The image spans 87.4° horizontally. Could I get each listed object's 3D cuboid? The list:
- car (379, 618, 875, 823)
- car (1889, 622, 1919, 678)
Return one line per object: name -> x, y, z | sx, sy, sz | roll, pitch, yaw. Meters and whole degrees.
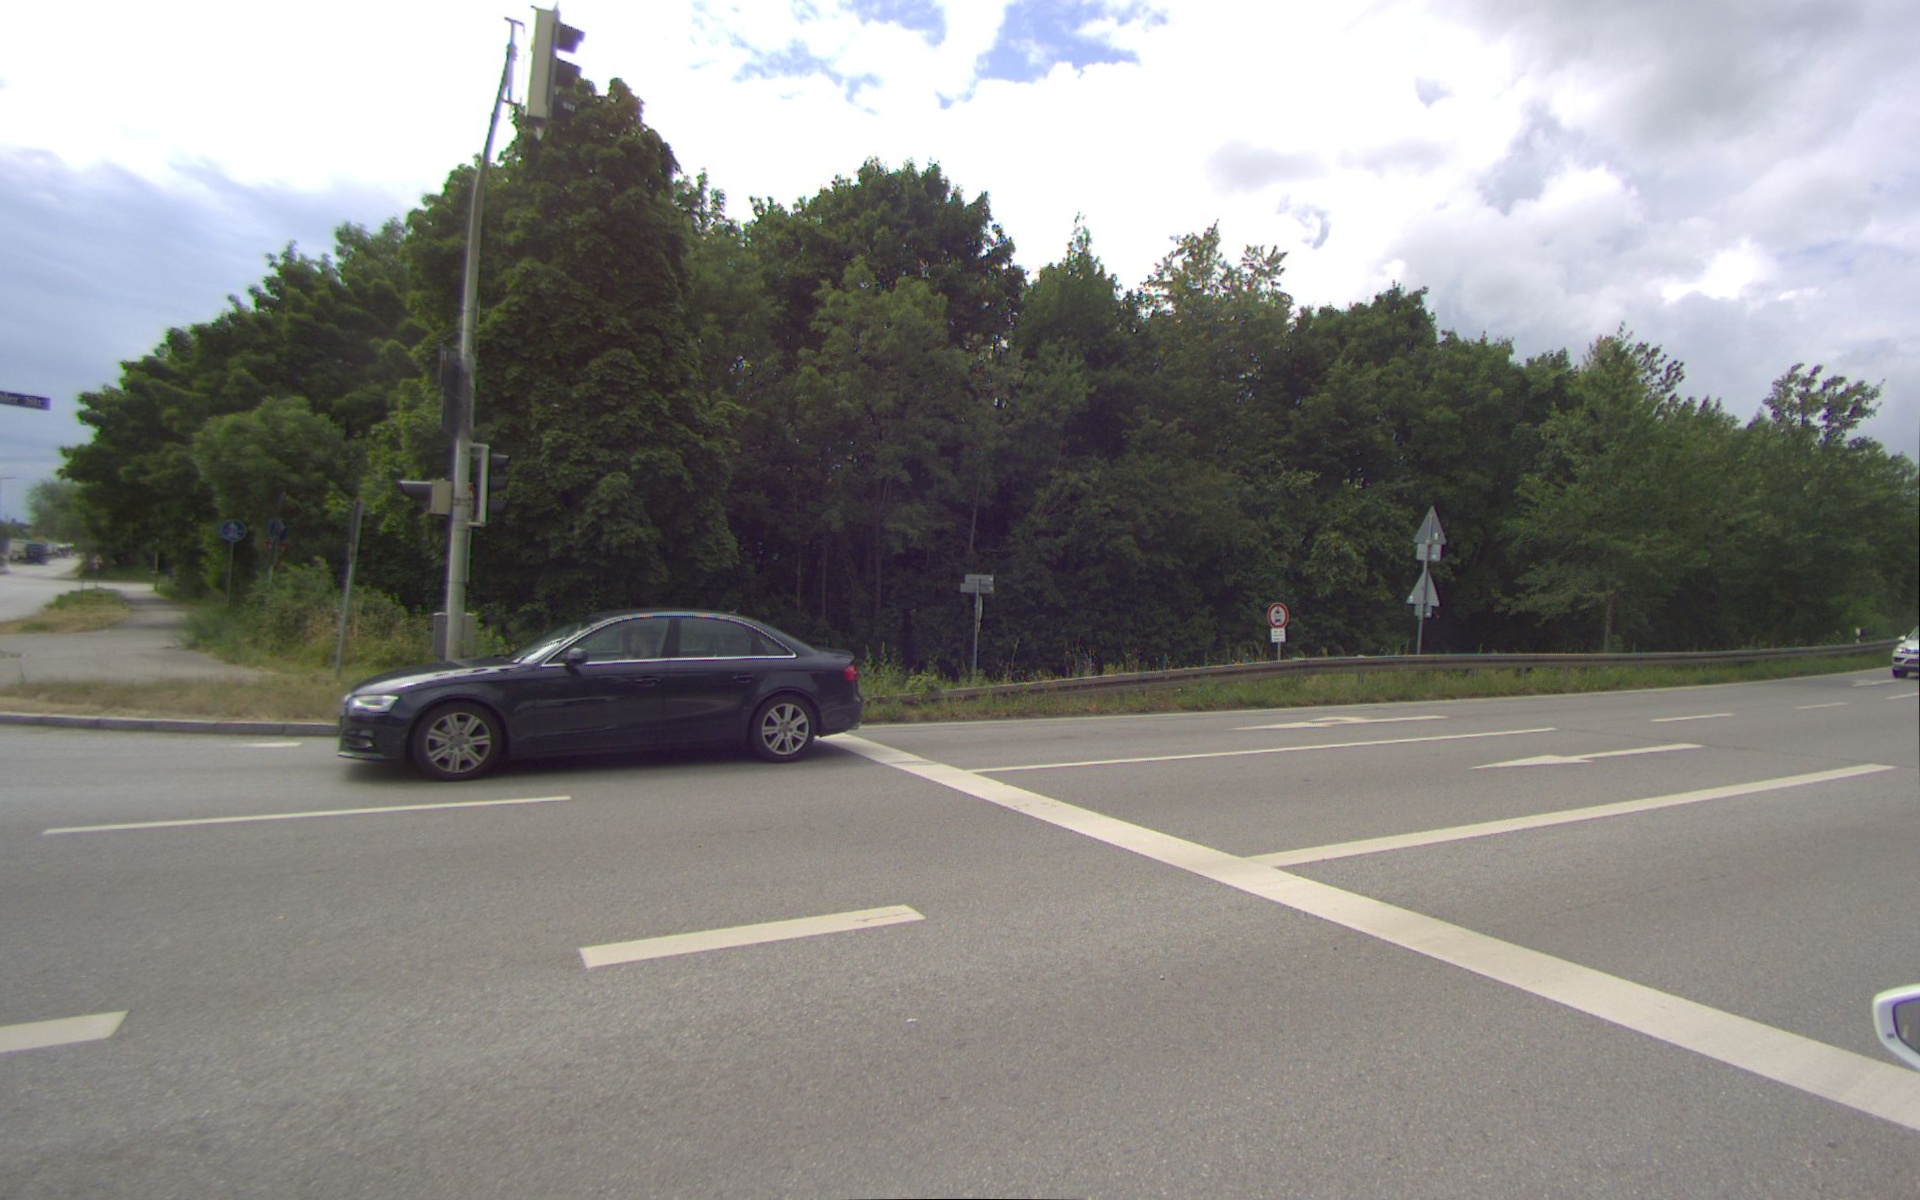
car -> -3.064, 1.002, 9.489 | 4.152, 1.506, 1.731 | 2, 0, -31
car -> 30.429, 1.532, 30.943 | 4.693, 1.665, 1.844 | 1, -1, -37
